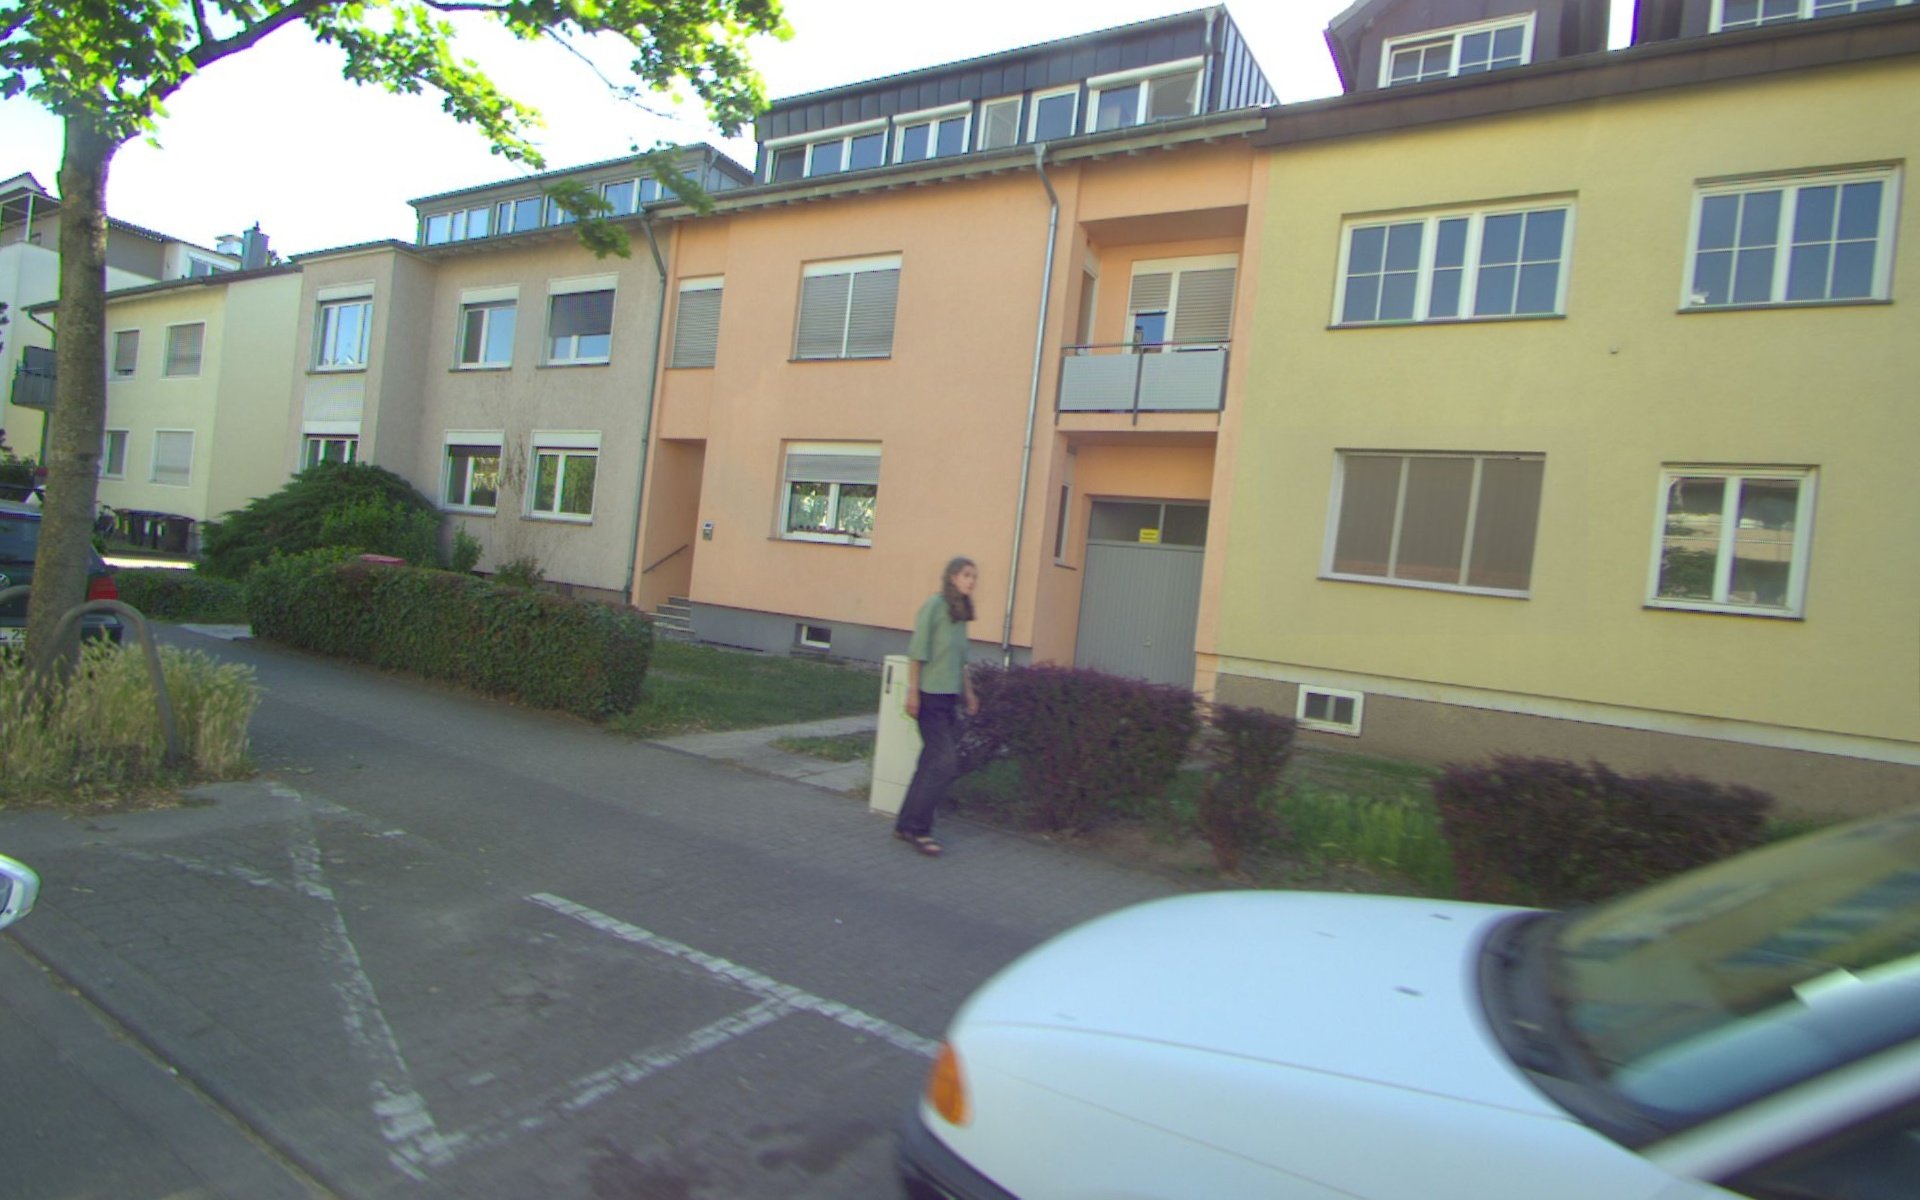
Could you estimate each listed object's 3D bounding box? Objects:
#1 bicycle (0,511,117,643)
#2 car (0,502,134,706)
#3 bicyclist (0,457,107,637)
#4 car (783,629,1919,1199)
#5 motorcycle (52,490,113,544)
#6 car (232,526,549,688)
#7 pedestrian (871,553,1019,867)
[{"bbox_3d":[-9.943,-0.273,10.865,1.791,1.263,0.698,7,2,32],"label":"bicycle"},{"bbox_3d":[-8.154,-0.137,7.797,3.656,1.373,1.533,7,1,31],"label":"car"},{"bbox_3d":[-9.912,-0.573,10.842,0.999,1.816,0.724,7,2,31],"label":"bicyclist"},{"bbox_3d":[1.776,0.985,1.487,3.905,1.422,1.649,7,2,32],"label":"car"},{"bbox_3d":[-26.033,-2.465,29.834,2.385,1.393,0.636,7,2,32],"label":"motorcycle"},{"bbox_3d":[-6.540,0.015,11.455,3.656,1.374,1.532,7,3,31],"label":"car"},{"bbox_3d":[-0.081,0.613,5.864,0.485,1.699,0.538,7,2,31],"label":"pedestrian"}]
